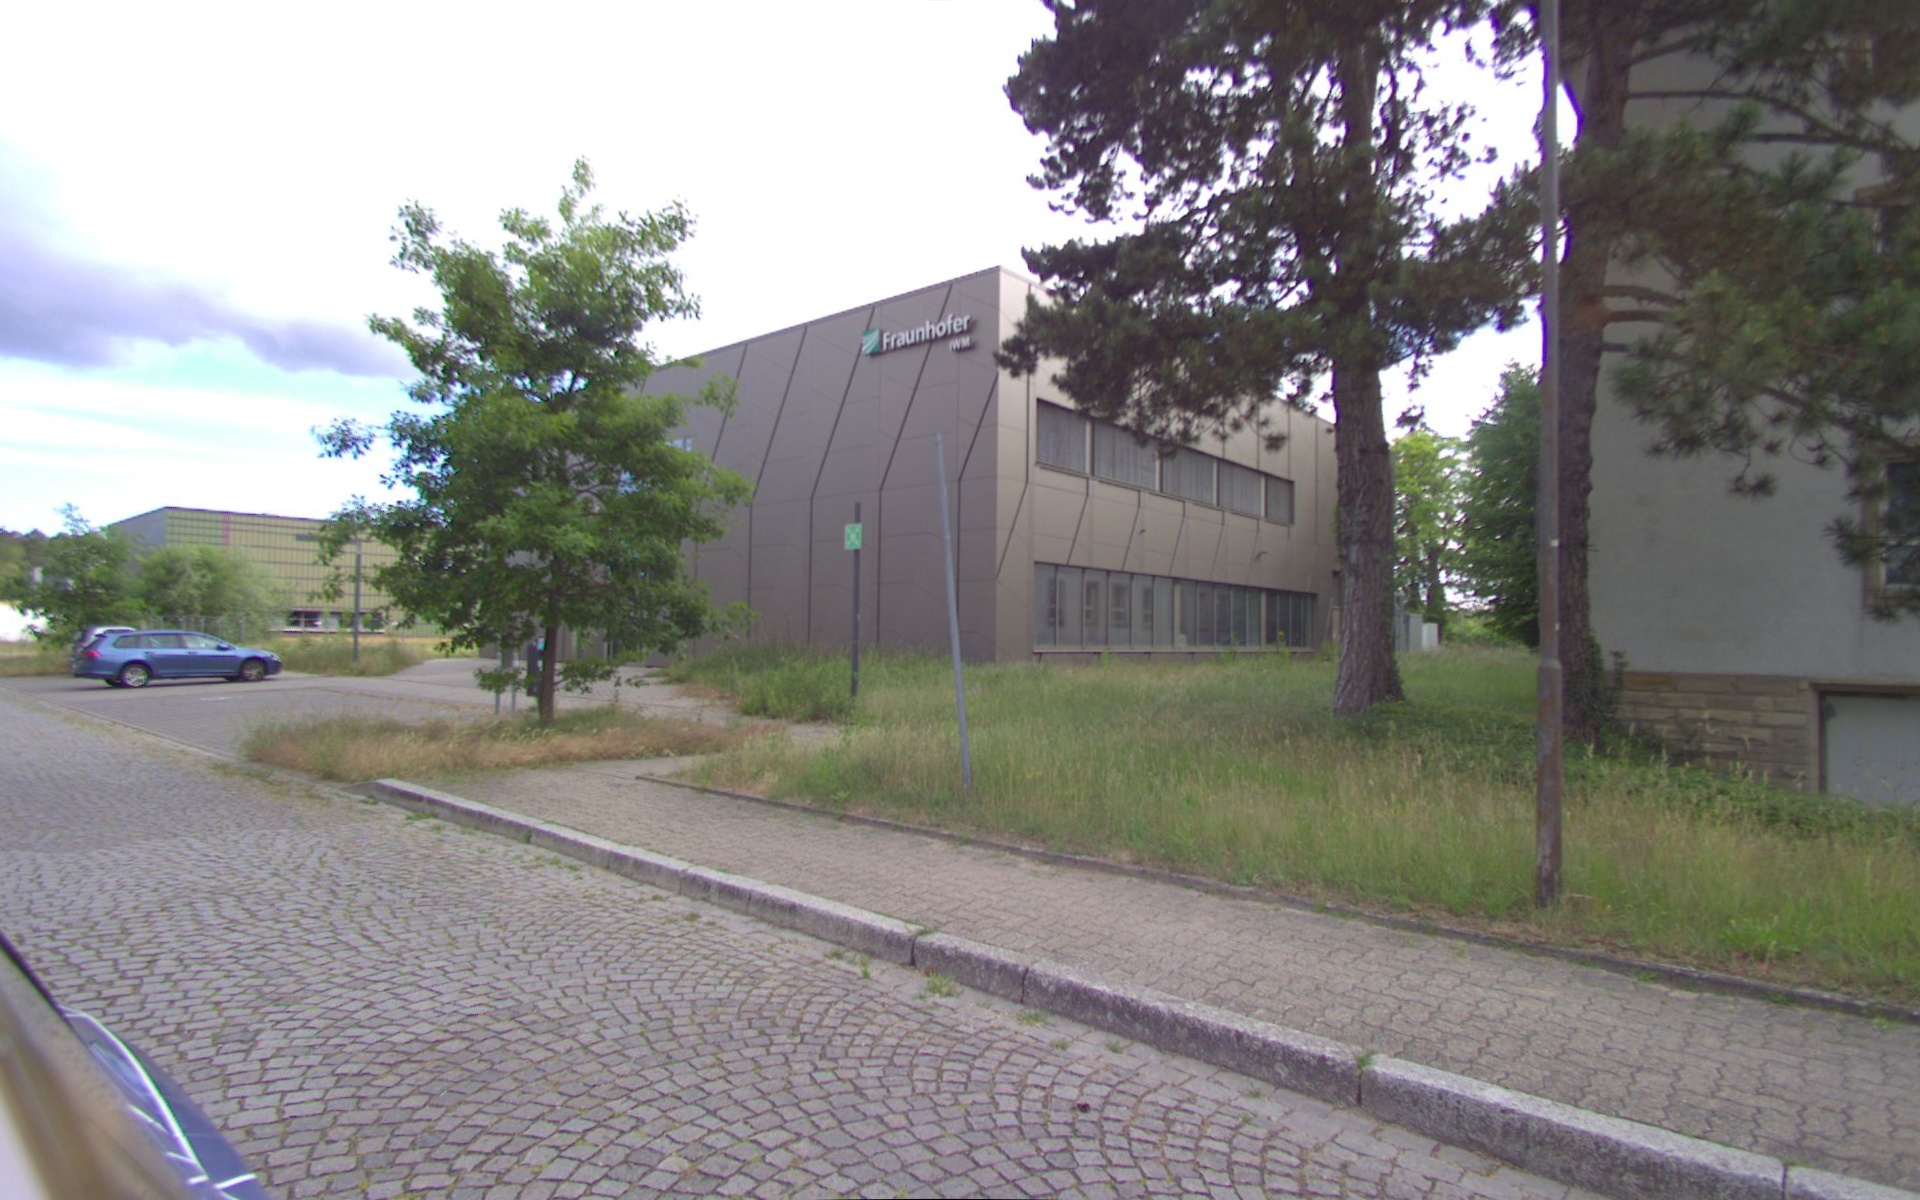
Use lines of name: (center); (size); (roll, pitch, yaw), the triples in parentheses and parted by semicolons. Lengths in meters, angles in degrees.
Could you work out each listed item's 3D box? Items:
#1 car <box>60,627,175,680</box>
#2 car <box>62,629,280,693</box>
car: (-26.627, 1.648, 32.027); (1.499, 1.541, 2.552); (-1, -1, 39)
car: (-21.074, 1.560, 27.189); (1.631, 1.481, 4.372); (-1, -1, 38)
